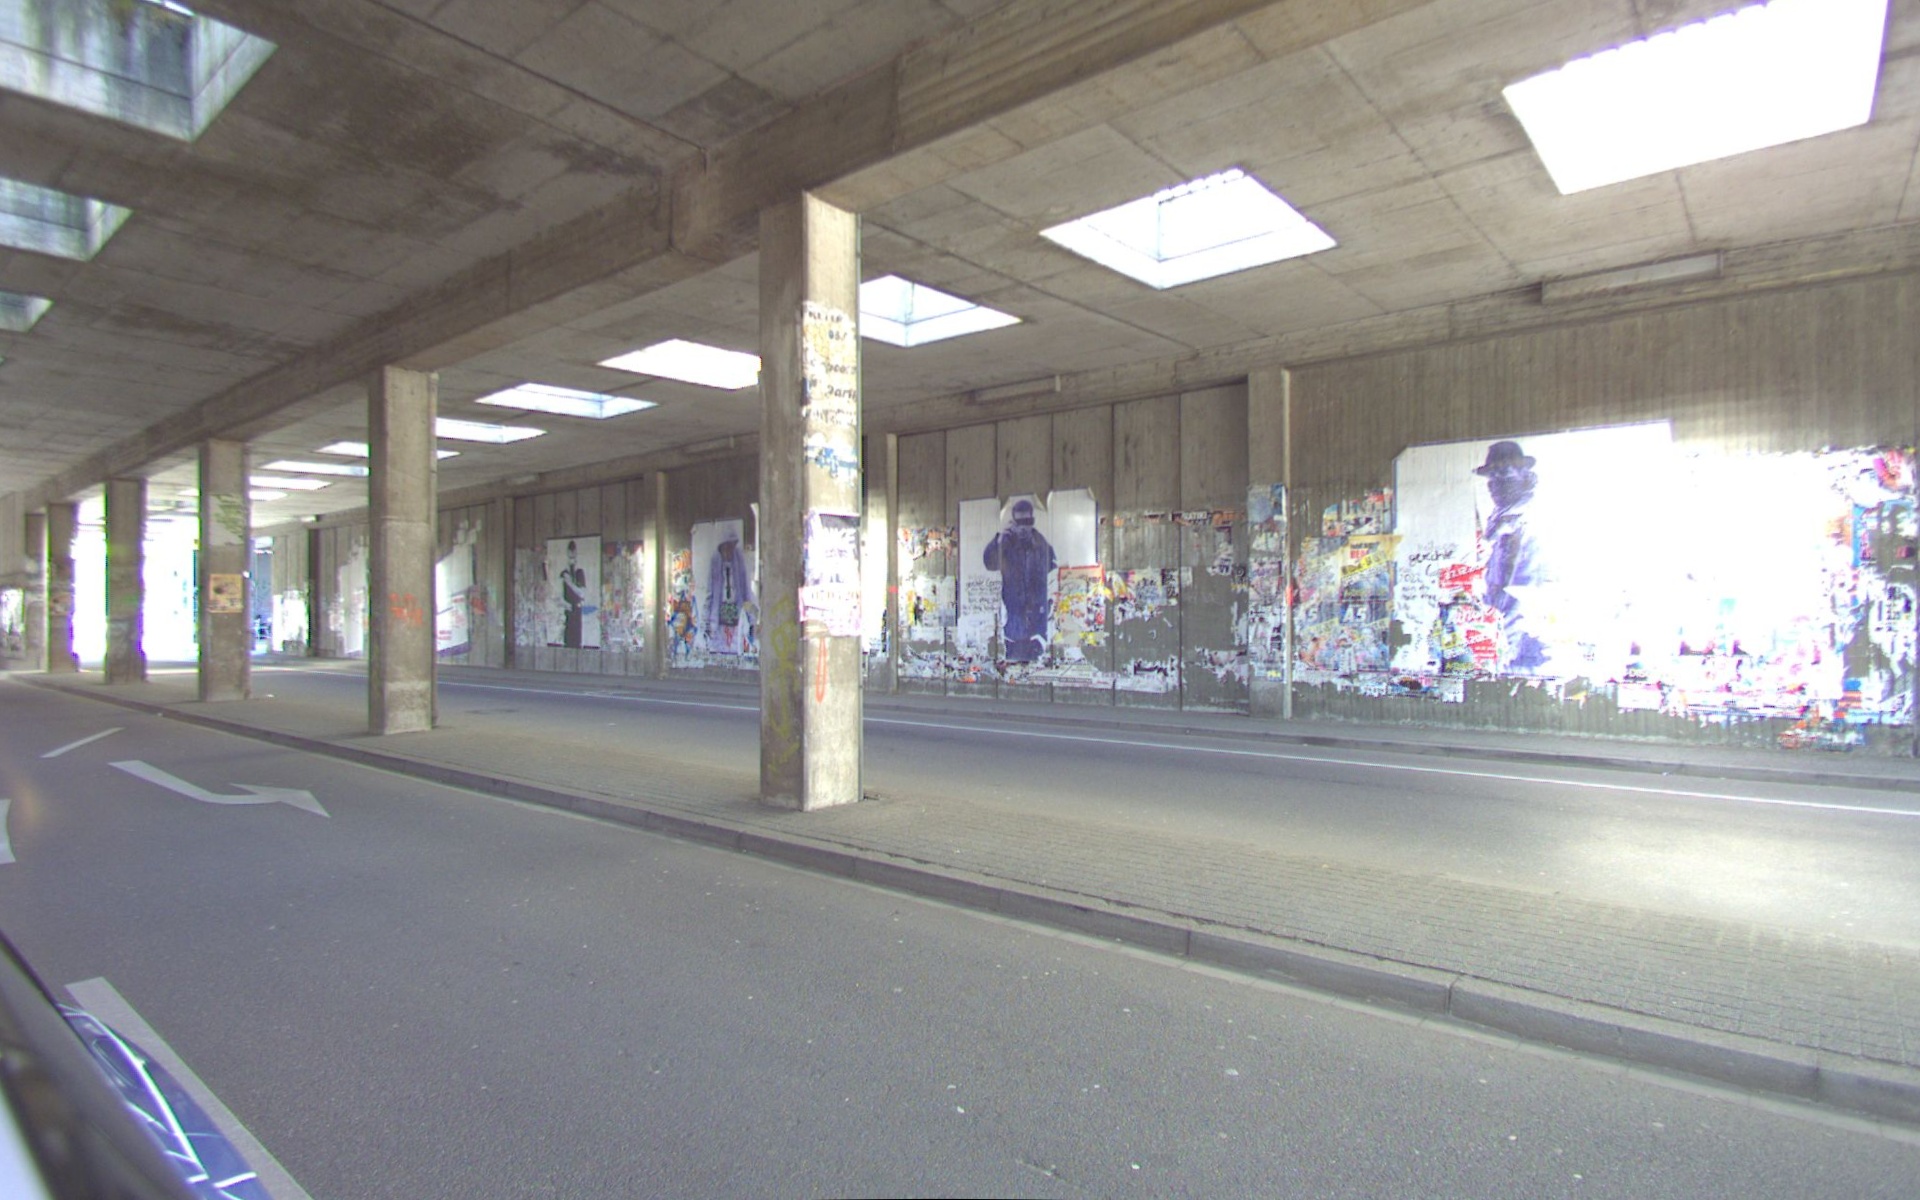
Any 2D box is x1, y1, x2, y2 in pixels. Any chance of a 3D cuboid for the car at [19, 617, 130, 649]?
[{"bbox_3d":[-53.834,1.950,61.577,1.997,1.763,4.798,-1,0,38],"label":"car"}]
